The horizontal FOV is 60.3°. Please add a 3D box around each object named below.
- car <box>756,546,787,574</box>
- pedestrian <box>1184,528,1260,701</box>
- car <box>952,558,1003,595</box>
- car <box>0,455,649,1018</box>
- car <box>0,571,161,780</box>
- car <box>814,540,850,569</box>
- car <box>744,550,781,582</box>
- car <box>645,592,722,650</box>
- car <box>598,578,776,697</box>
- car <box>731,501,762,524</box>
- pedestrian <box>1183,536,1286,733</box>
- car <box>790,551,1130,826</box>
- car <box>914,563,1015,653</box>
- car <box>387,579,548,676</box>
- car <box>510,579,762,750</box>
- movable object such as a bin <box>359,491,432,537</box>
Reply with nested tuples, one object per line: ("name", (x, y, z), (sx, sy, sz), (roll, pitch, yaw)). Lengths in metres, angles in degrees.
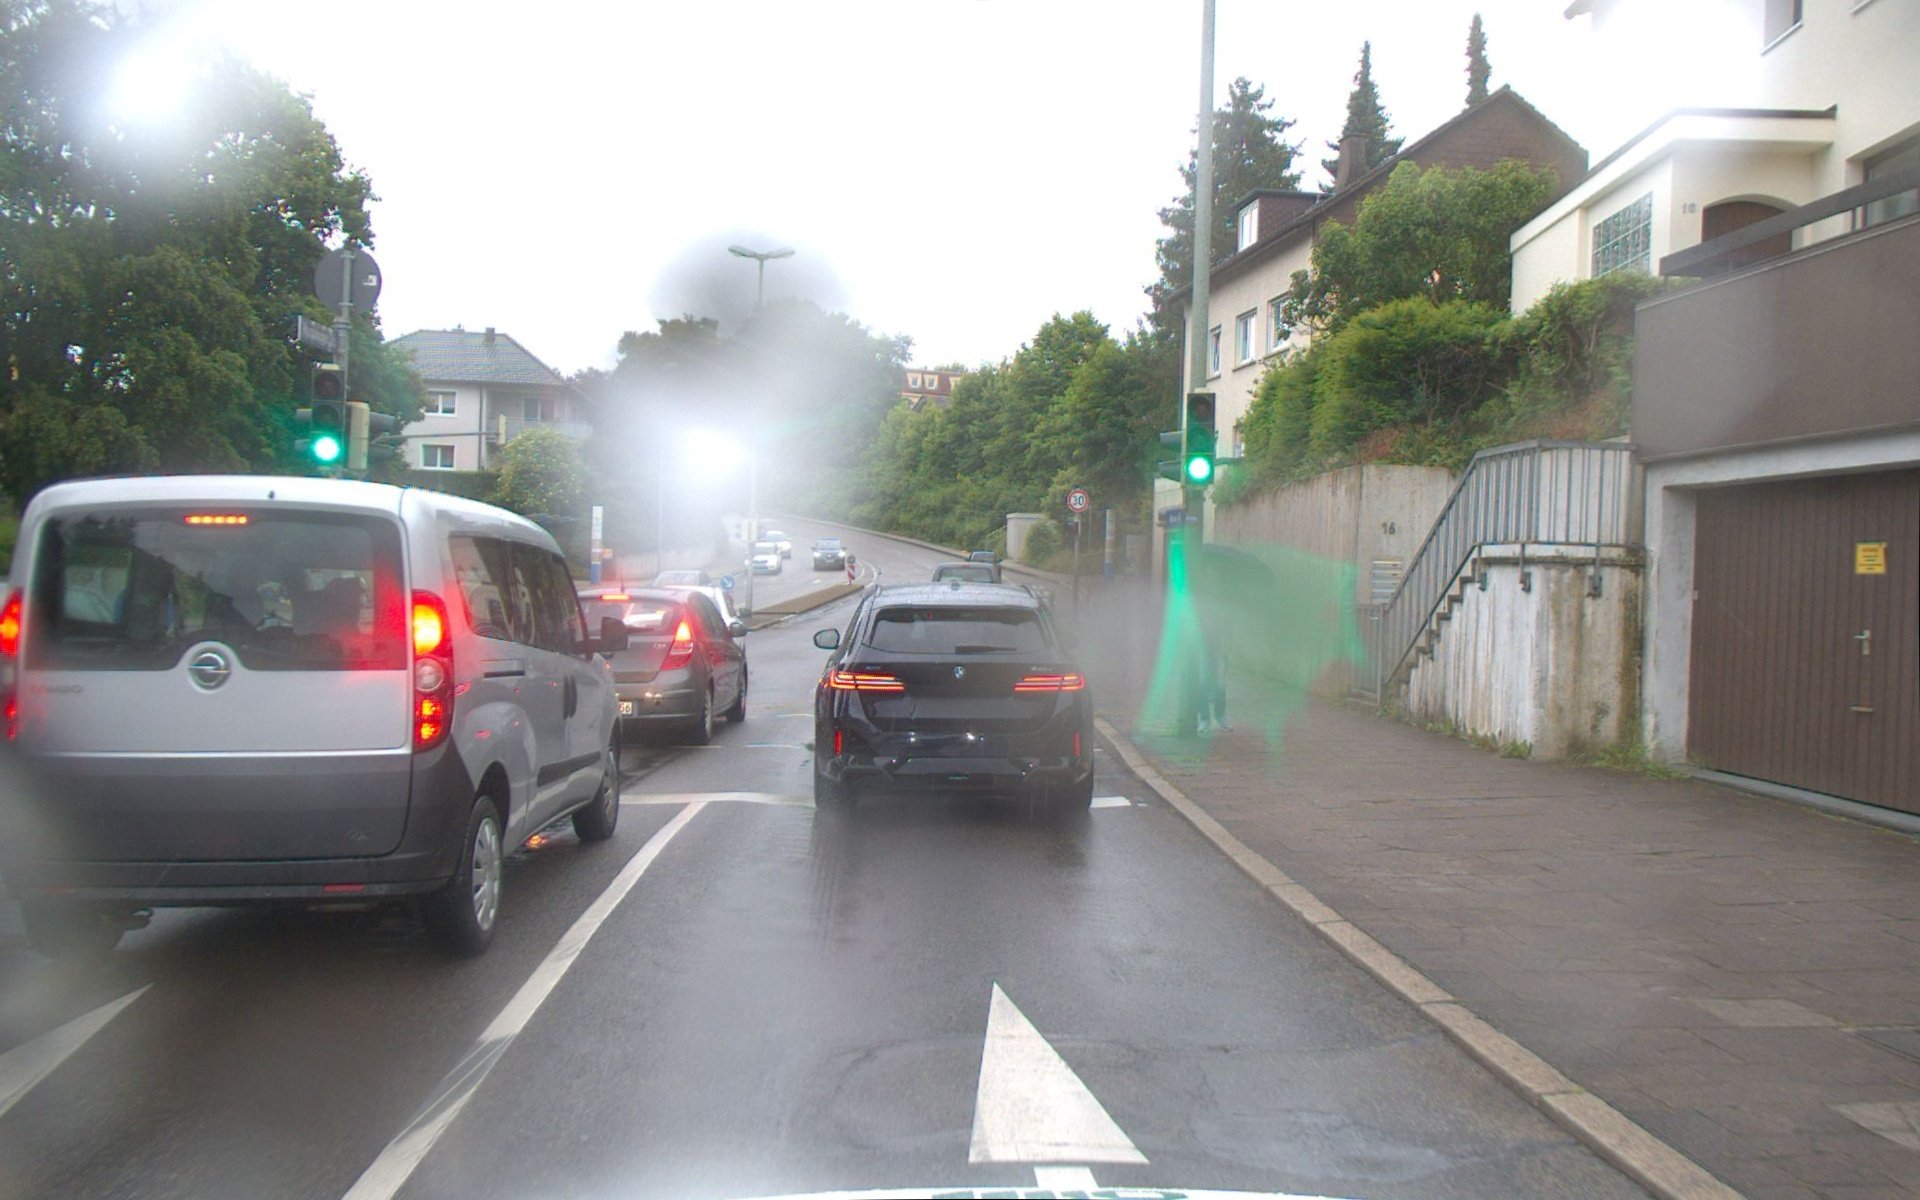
("car", (-12.137, -2.594, 106.553), (1.864, 1.712, 4.472), (0, 3, -8))
("pedestrian", (3.171, 0.172, 20.059), (0.781, 2.049, 0.734), (1, 0, -1))
("car", (0.835, -1.177, 81.286), (1.817, 1.690, 3.993), (1, 2, -9))
("car", (-2.778, 0.431, 7.996), (1.912, 1.903, 4.743), (0, 1, -4))
("car", (-7.982, 0.521, 13.095), (1.818, 1.489, 3.993), (0, 1, -8))
("car", (-7.353, -2.577, 94.827), (1.806, 1.579, 4.377), (-1, 1, -7))
("car", (-10.744, -1.867, 90.248), (1.788, 1.685, 4.463), (0, 1, -4))
("car", (-7.956, 0.582, 47.873), (1.955, 1.601, 3.995), (0, 0, -6))
("car", (-3.844, 0.474, 24.036), (1.869, 1.555, 4.651), (0, 0, -1))
("car", (-20.722, -8.518, 160.504), (1.968, 2.049, 3.969), (-1, 1, -24))
("pedestrian", (2.606, 0.315, 15.770), (0.777, 1.811, 1.011), (-1, 0, -1))
("car", (-0.223, 0.558, 12.170), (1.955, 1.614, 4.656), (1, -1, -7))
("car", (0.040, 0.118, 35.672), (1.954, 1.779, 3.998), (0, 2, -3))
("car", (-8.665, 0.445, 29.500), (1.800, 1.583, 4.765), (0, 0, -5))
("car", (-3.112, 0.556, 16.698), (1.797, 1.513, 4.058), (0, 0, -1))
("movable object such as a bin", (-19.495, -2.969, 57.158), (2.014, 1.541, 1.345), (0, 3, 4))
